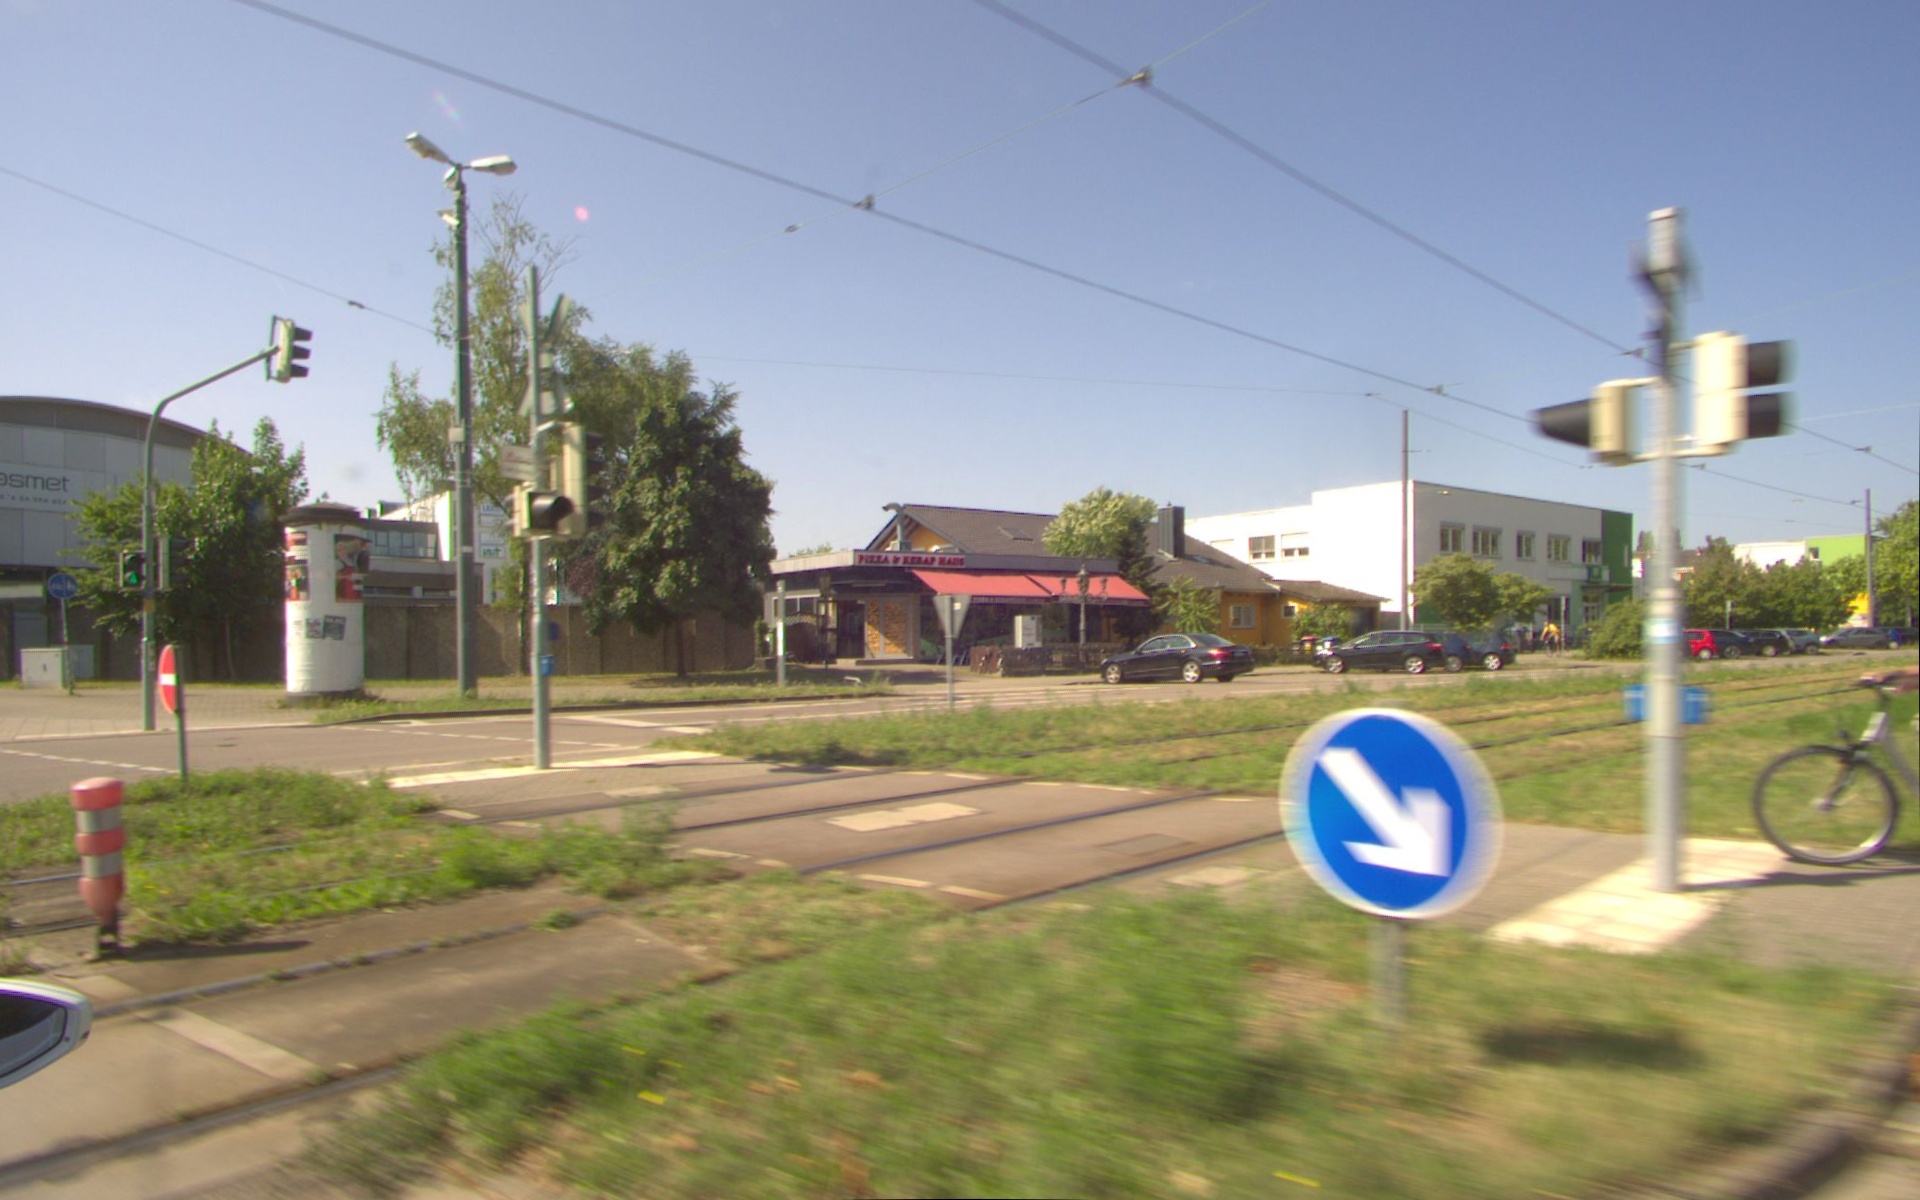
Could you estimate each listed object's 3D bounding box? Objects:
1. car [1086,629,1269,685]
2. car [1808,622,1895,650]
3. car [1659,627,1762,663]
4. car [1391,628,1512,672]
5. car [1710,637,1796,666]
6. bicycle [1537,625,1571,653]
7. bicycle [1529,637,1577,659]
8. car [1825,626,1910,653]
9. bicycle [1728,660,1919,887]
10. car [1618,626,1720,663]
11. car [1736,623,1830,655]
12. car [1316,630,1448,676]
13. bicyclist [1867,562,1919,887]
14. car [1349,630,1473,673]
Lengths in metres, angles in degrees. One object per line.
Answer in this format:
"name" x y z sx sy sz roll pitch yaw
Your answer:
"car" 6.334 1.674 29.733 2.120 1.517 5.077 1 -3 -40
"car" 59.939 2.413 67.421 3.936 1.816 1.995 0 -3 26
"car" 38.951 2.344 52.097 3.936 1.816 1.995 0 -3 26
"car" 19.160 1.934 39.104 4.141 1.640 2.135 -1 -2 28
"car" 43.884 2.815 55.471 3.385 1.555 1.565 0 -1 20
"bicycle" 29.588 1.927 49.887 0.766 1.343 1.214 0 -1 -26
"bicycle" 29.564 2.382 49.897 2.095 1.060 1.107 1 -1 -26
"car" 62.755 2.707 69.308 3.936 1.817 1.993 0 0 26
"bicycle" 5.775 1.014 5.725 2.094 1.201 0.690 2 0 33
"car" 36.059 2.283 51.047 3.936 1.816 1.995 0 -3 26
"car" 48.674 2.321 59.325 3.936 1.816 1.995 0 -3 26
"car" 14.972 1.854 35.517 4.141 1.517 2.135 -1 -2 28
"bicyclist" 5.796 0.698 5.713 0.799 1.810 0.699 0 -1 32
"car" 16.852 1.905 37.415 4.141 1.517 2.135 -1 -2 28
